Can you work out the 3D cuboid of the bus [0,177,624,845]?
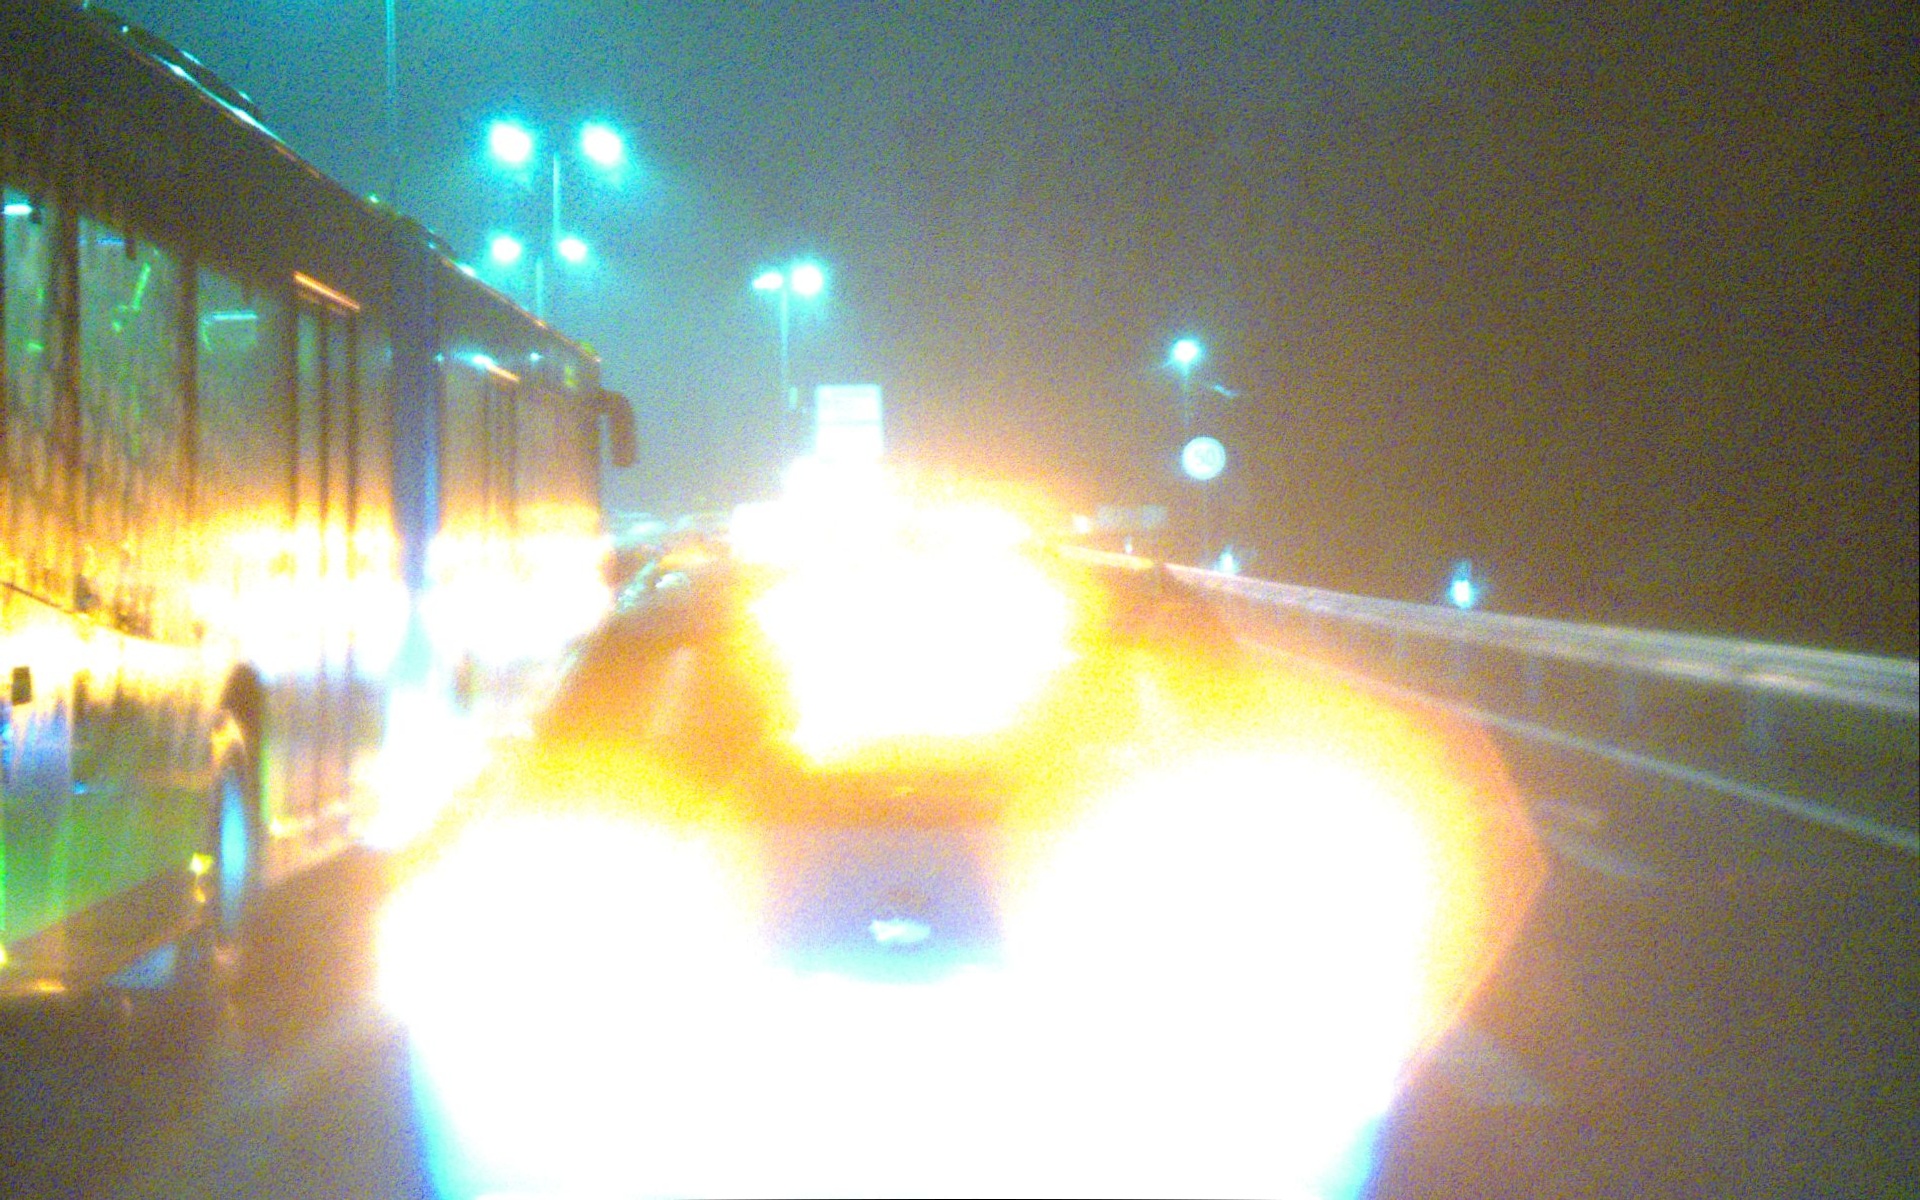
[{"bbox_3d":[-3.760,-0.530,20.725,2.743,3.112,8.704,2,1,-2],"label":"bus"}]

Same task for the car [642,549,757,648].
[{"bbox_3d":[-4.134,-0.027,54.954,1.557,1.481,3.809,2,0,-1],"label":"car"}]

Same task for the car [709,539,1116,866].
[{"bbox_3d":[-0.233,0.438,17.346,1.822,1.456,3.716,1,1,-1],"label":"car"}]

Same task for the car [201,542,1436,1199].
[{"bbox_3d":[-0.208,0.638,7.294,1.944,1.486,3.716,1,1,1],"label":"car"}]

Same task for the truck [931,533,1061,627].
[{"bbox_3d":[1.098,-0.542,99.019,3.070,2.520,7.165,2,0,6],"label":"truck"}]

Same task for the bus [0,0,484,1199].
[{"bbox_3d":[-3.532,-0.340,11.815,2.743,3.112,9.202,2,1,-2],"label":"bus"}]

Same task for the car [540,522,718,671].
[{"bbox_3d":[-3.526,-0.034,37.181,1.557,1.481,3.809,2,0,-1],"label":"car"}]

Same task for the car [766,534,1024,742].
[{"bbox_3d":[-0.483,0.247,26.289,1.822,1.456,3.716,1,1,-1],"label":"car"}]
